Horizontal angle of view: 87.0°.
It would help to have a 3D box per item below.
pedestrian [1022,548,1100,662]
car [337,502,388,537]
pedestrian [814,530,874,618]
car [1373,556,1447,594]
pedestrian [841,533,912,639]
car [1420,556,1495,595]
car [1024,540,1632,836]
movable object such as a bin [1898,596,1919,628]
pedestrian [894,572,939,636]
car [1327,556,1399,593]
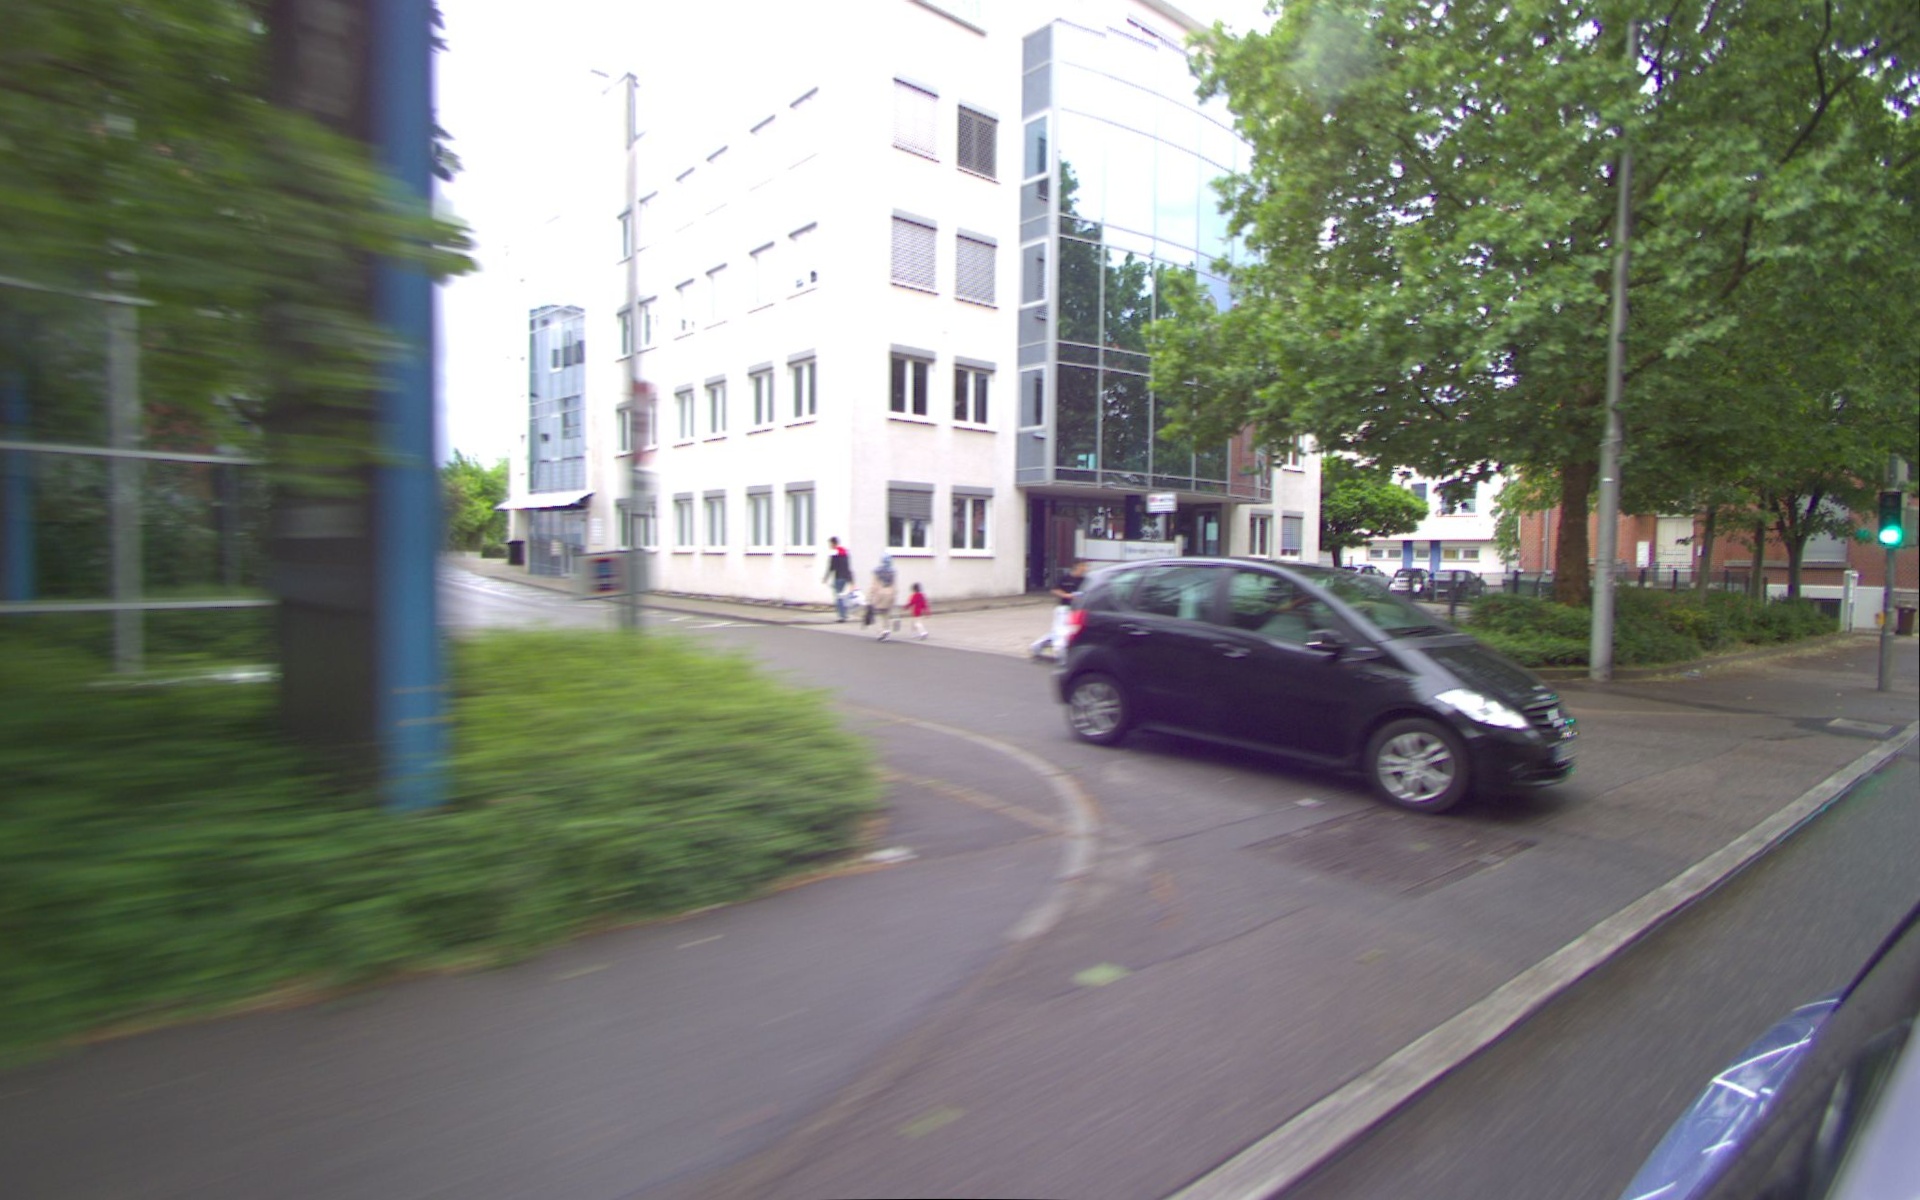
[{"bbox_3d":[1.499,0.051,15.145,0.689,1.637,0.920,0,2,-37],"label":"pedestrian"},{"bbox_3d":[-30.963,-4.127,52.390,1.753,1.655,3.859,0,3,-39],"label":"car"},{"bbox_3d":[-2.501,-0.564,21.802,0.942,1.850,0.832,0,2,-37],"label":"pedestrian"},{"bbox_3d":[22.932,-1.296,51.527,3.928,1.841,1.912,-2,1,-40],"label":"car"},{"bbox_3d":[-1.506,-0.258,18.207,0.942,1.850,0.832,0,2,-37],"label":"pedestrian"},{"bbox_3d":[24.551,-1.212,49.903,3.928,1.841,1.912,-2,1,-40],"label":"car"},{"bbox_3d":[2.621,0.409,7.734,3.850,1.566,1.995,5,4,44],"label":"car"},{"bbox_3d":[29.397,0.375,31.223,0.562,0.944,0.592,0,3,-41],"label":"movable object such as a bin"},{"bbox_3d":[-0.799,0.061,18.692,0.552,1.145,0.623,0,2,-37],"label":"pedestrian"},{"bbox_3d":[21.282,-1.364,53.411,3.928,1.841,1.912,-2,1,-40],"label":"car"}]
